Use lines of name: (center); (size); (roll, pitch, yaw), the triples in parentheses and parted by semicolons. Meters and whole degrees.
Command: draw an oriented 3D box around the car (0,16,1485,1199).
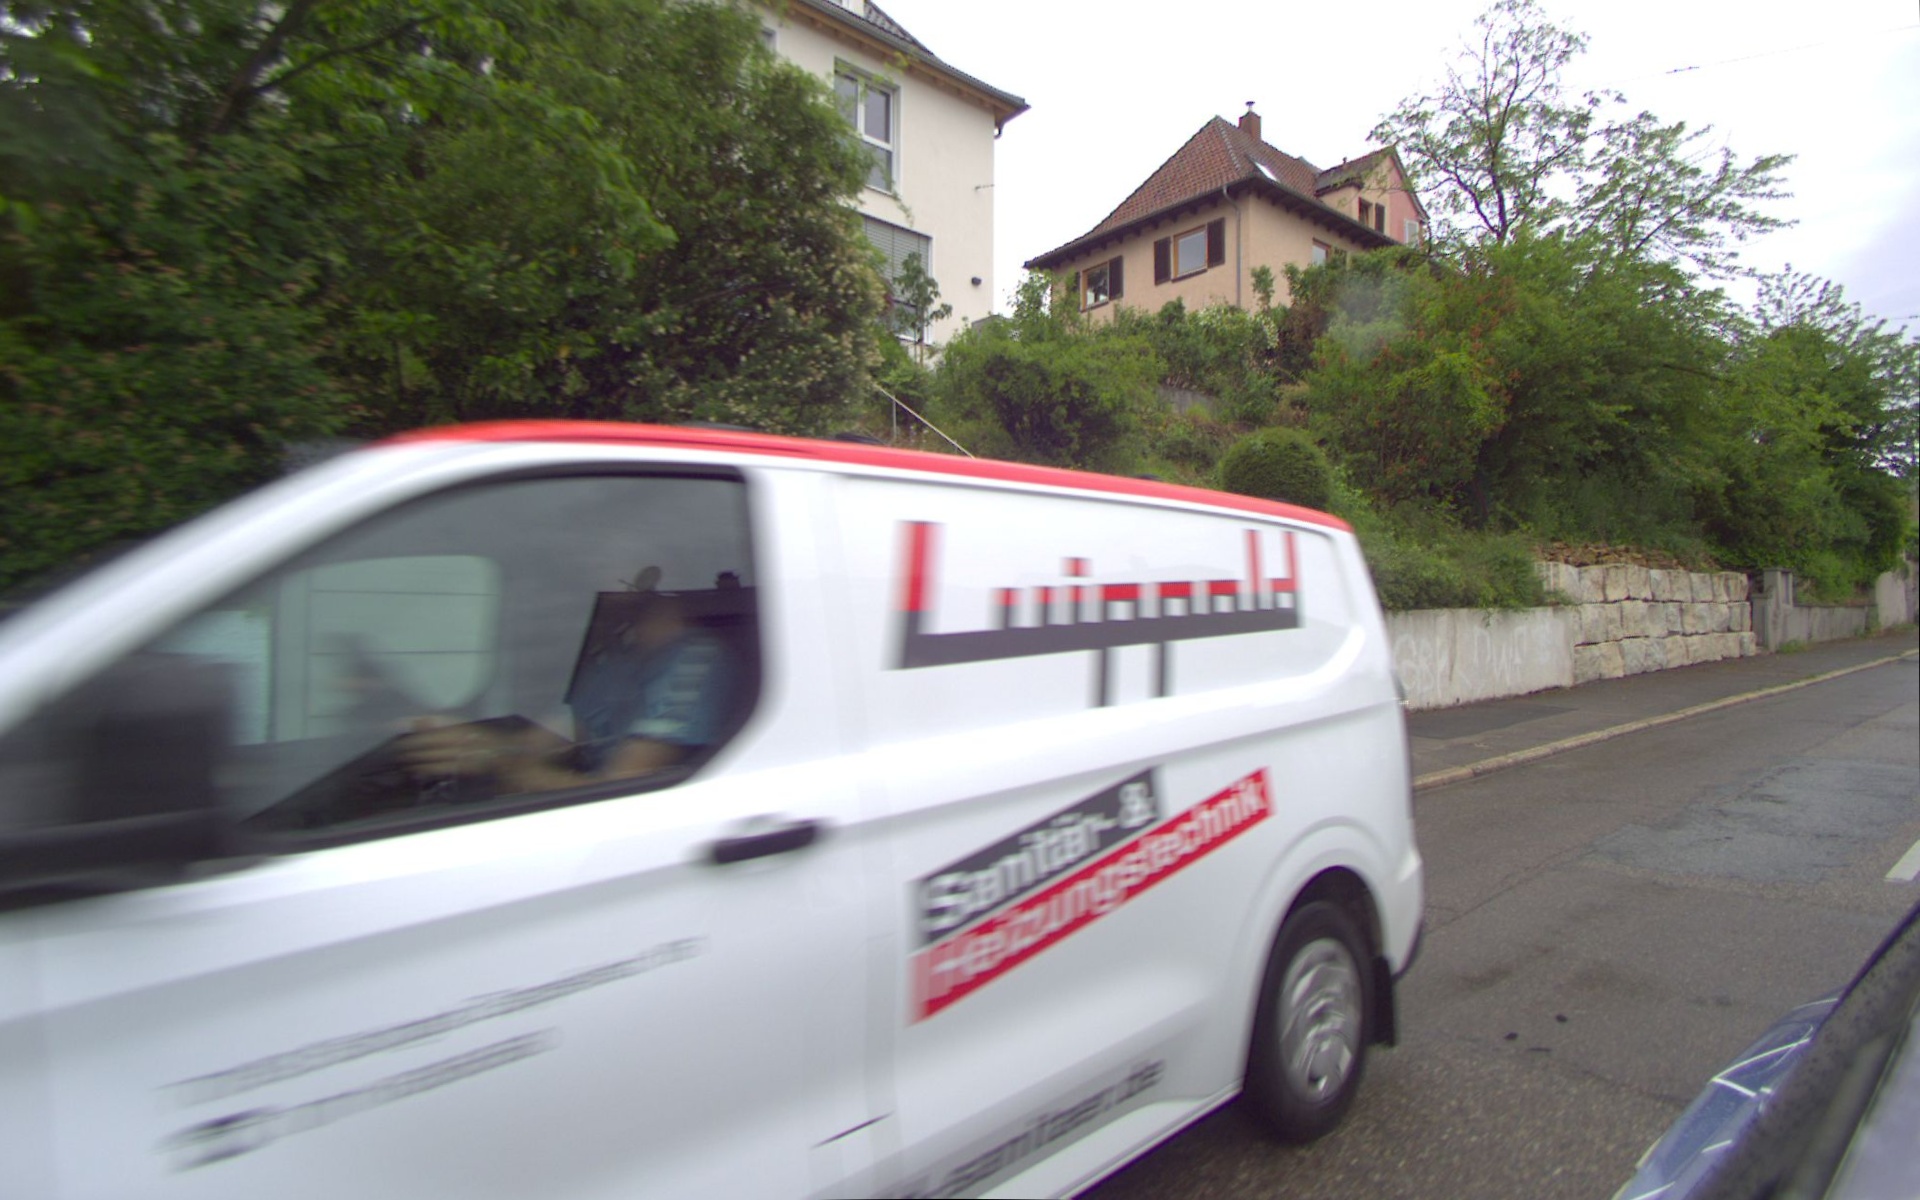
car: (-0.574, 0.443, 2.831); (4.730, 2.032, 2.069); (2, -2, -41)
